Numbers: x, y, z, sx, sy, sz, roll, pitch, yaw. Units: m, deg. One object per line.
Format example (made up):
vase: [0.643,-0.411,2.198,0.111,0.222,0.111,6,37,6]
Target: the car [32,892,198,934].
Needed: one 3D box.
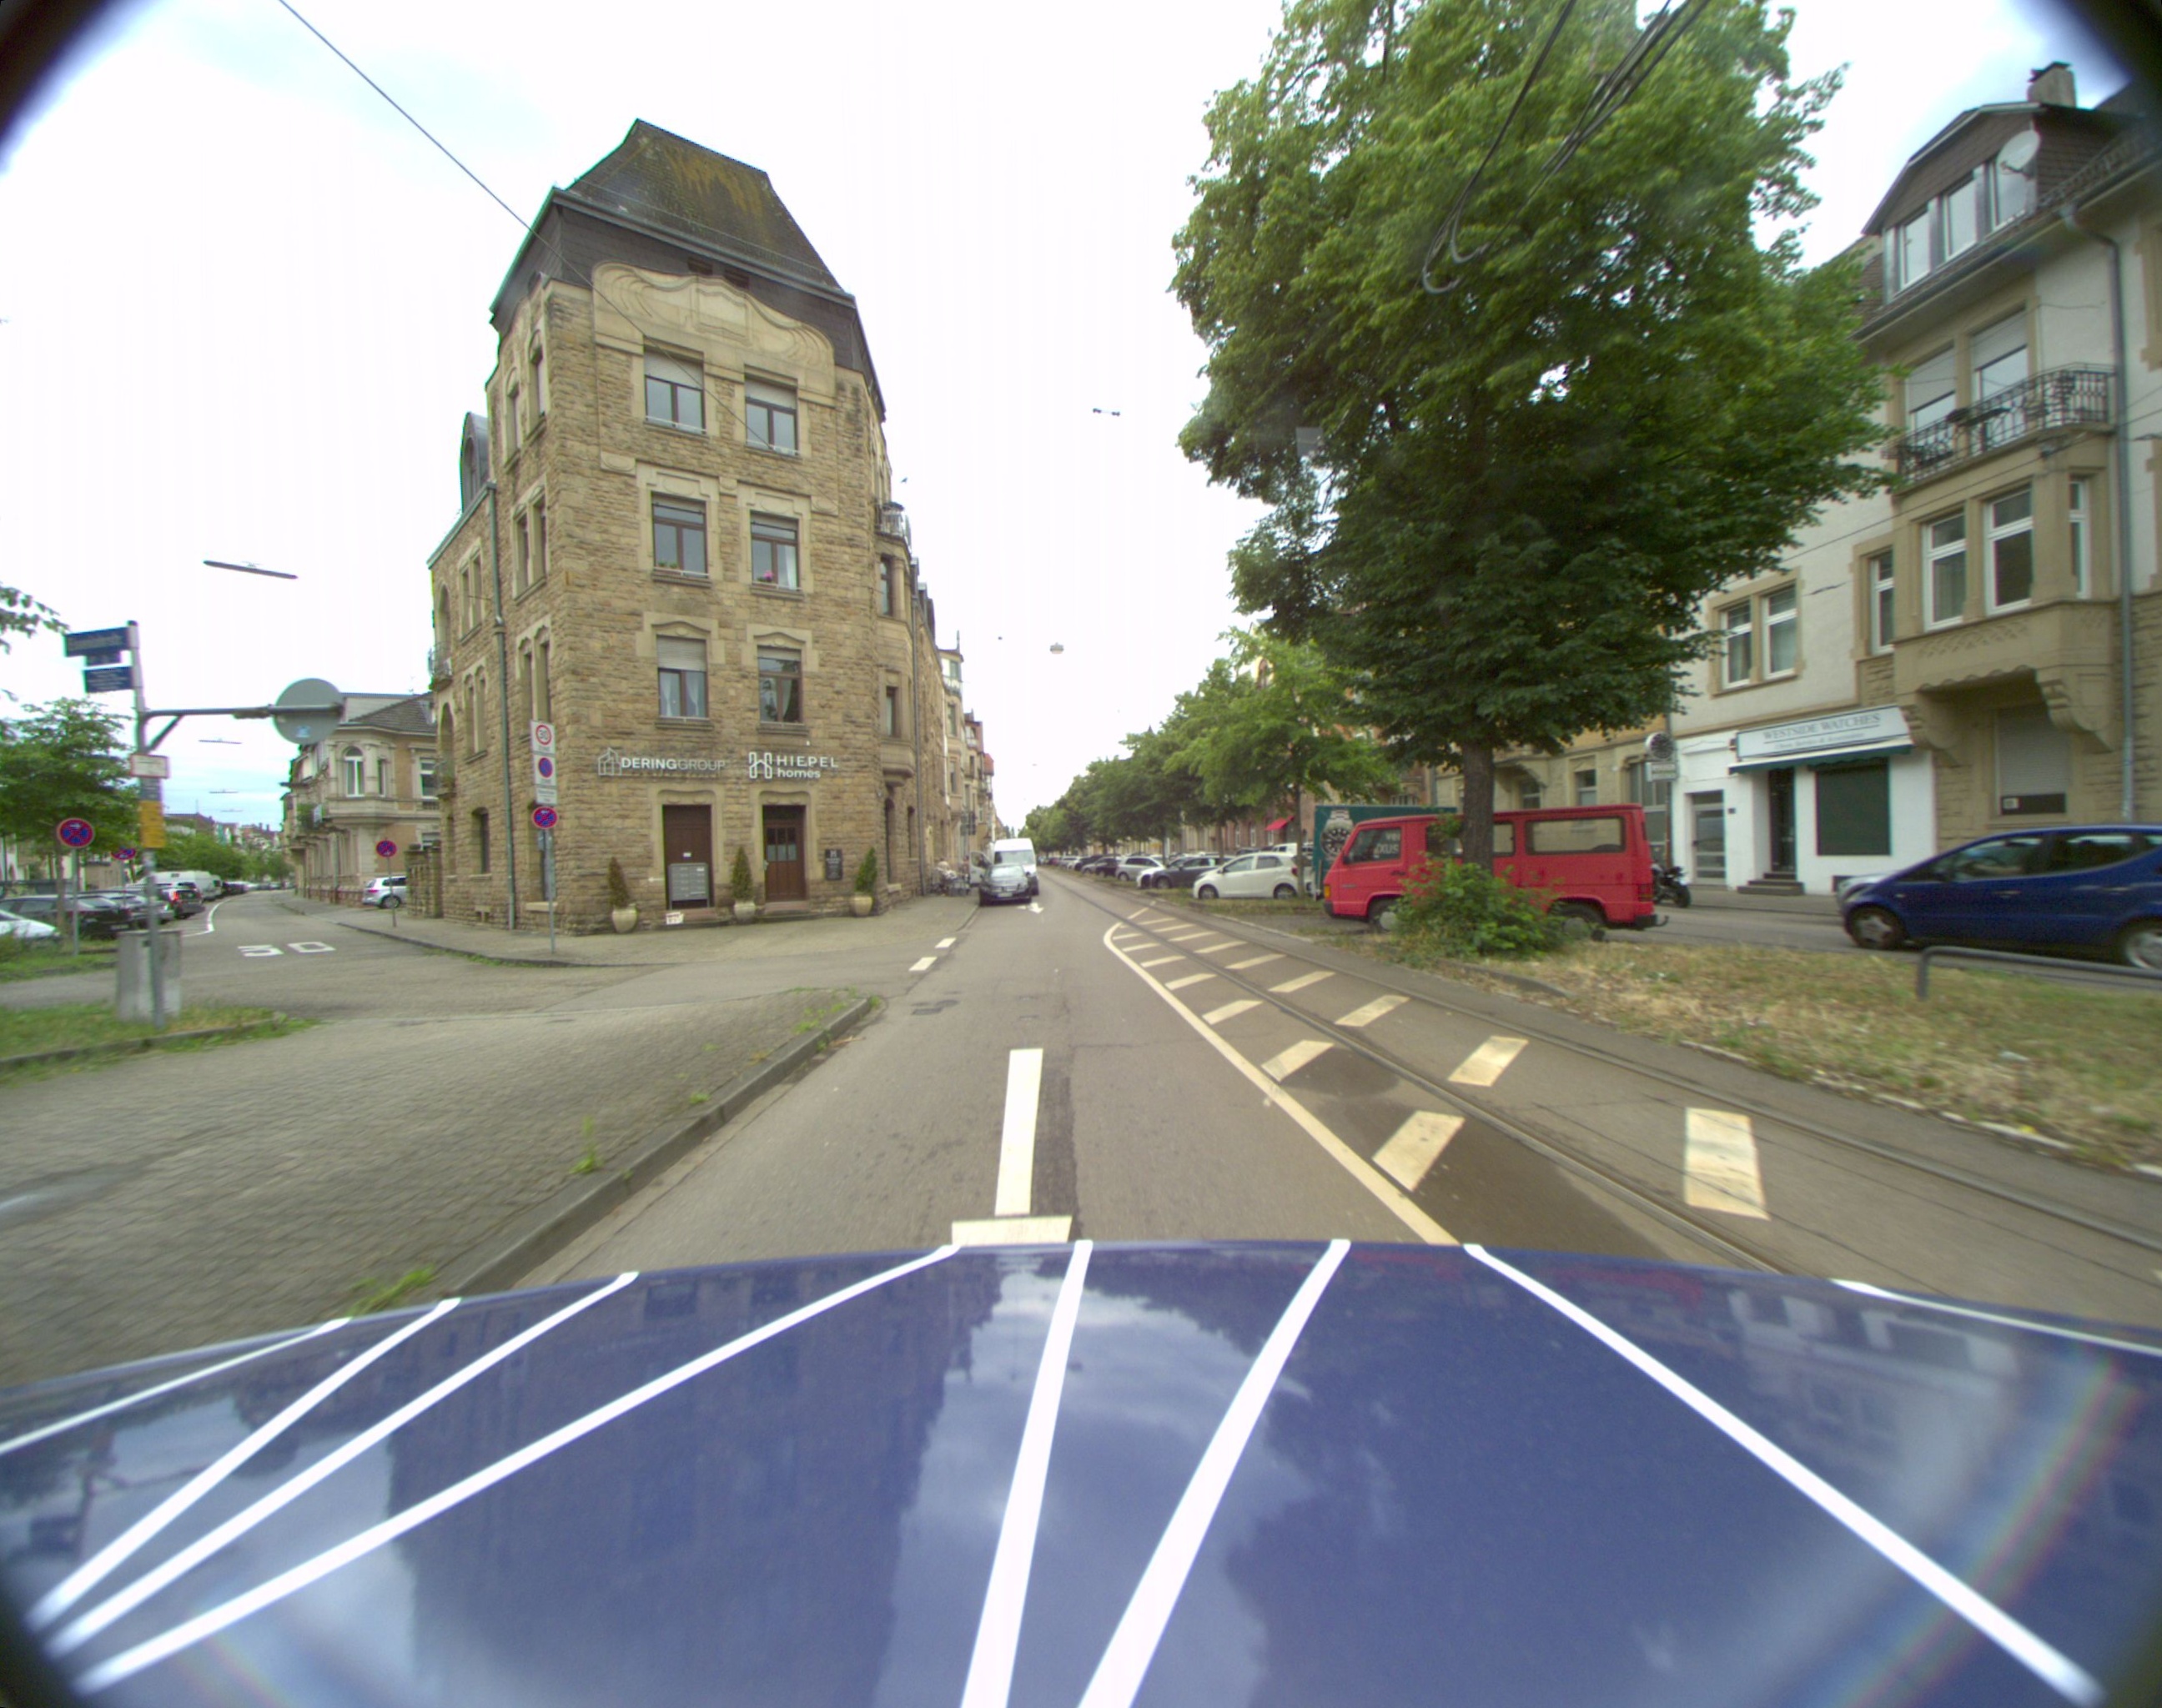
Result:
car: [-39.981,2.414,31.548,4.044,1.523,1.753,-1,0,-11]

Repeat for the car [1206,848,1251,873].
car: [10.028,0.417,51.959,1.745,1.533,4.551,-2,1,-6]

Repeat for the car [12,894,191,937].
car: [-37.646,2.350,29.326,4.044,1.425,1.753,-1,0,-11]

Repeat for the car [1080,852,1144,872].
car: [2.329,0.628,57.389,4.655,1.360,1.761,-2,0,38]

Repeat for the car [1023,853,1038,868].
car: [-7.357,0.979,109.693,1.999,2.002,3.998,-2,1,-5]

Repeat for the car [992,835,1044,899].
car: [-2.868,0.534,35.186,2.019,2.534,7.013,-4,0,-4]

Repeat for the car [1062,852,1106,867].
car: [0.332,0.620,82.224,4.552,1.484,1.867,-2,1,41]

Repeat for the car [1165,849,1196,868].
car: [8.802,0.378,67.627,1.774,1.619,4.318,-2,1,-6]

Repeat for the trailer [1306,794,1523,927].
trailer: [6.573,0.151,15.072,3.662,2.331,1.934,-2,0,28]

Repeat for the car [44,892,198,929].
car: [-42.608,2.474,33.831,4.044,1.425,1.753,-1,0,-11]

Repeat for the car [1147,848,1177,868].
car: [6.596,0.285,62.217,1.649,1.495,3.881,-2,1,-6]

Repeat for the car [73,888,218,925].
car: [-44.440,2.471,36.178,4.044,1.501,1.885,-1,0,-11]

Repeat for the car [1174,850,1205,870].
car: [9.014,0.474,63.175,1.667,1.551,3.720,-2,1,-6]

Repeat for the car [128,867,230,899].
car: [-78.208,2.502,65.984,5.326,2.488,2.346,-2,1,-11]

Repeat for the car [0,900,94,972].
car: [-24.436,1.793,16.341,3.545,1.425,1.705,-1,0,-17]

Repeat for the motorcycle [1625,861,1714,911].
motorcycle: [13.597,0.707,17.635,0.710,1.032,2.232,-2,1,12]

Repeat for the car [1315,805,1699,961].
car: [6.289,0.406,11.657,4.755,1.963,1.963,-2,0,33]

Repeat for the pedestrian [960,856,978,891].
pedestrian: [-5.442,0.952,36.909,0.706,1.690,0.492,0,0,-32]

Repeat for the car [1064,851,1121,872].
car: [0.929,0.611,63.449,4.520,1.624,1.769,-2,1,39]

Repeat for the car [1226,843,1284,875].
car: [10.367,0.254,45.722,1.819,1.771,5.114,-2,1,-6]

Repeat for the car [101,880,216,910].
car: [-71.950,3.173,59.372,5.326,2.011,2.346,-2,1,-11]

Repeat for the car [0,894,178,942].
car: [-35.452,2.244,26.964,4.047,1.425,1.752,-1,0,-19]

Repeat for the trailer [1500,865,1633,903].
trailer: [13.098,0.781,20.699,1.459,0.887,3.075,-1,0,-6]

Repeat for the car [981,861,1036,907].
car: [-2.677,1.066,28.786,1.829,1.442,5.004,-3,0,-4]

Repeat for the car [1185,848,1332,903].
car: [5.213,0.639,22.544,3.853,1.454,1.693,-2,0,37]

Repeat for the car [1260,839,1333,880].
car: [11.203,0.240,39.887,1.887,1.941,5.091,-2,1,-6]

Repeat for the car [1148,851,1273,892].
car: [4.953,0.677,29.341,4.328,1.426,1.902,-2,0,37]

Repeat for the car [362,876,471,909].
car: [-33.903,1.925,38.835,4.052,1.425,1.750,-1,0,-45]

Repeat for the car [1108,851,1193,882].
car: [3.652,0.671,40.280,4.106,1.475,1.800,-2,0,36]

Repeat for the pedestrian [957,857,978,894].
pedestrian: [-5.211,0.968,34.974,0.866,1.690,0.537,0,0,-19]

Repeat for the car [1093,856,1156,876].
car: [2.870,0.792,50.566,3.952,1.195,1.671,-2,0,39]

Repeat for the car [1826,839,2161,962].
car: [13.633,0.551,10.619,1.639,1.434,4.567,-2,0,-6]

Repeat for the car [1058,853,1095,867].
car: [-0.533,0.715,92.577,4.195,1.600,1.728,-1,2,36]

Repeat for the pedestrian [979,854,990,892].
pedestrian: [-4.600,0.914,36.234,0.500,1.804,0.802,0,0,-4]

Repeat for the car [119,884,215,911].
car: [-57.443,2.735,47.793,4.038,1.501,1.888,-2,1,7]

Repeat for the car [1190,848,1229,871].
car: [9.790,0.406,58.140,1.745,1.617,4.551,-2,1,-6]

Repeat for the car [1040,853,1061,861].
car: [-6.422,0.649,159.499,3.990,1.602,1.902,-2,-1,26]

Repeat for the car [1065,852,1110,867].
car: [0.646,0.578,75.226,4.119,1.304,1.867,-3,1,38]

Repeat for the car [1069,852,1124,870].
car: [1.389,0.619,67.355,4.529,1.482,2.040,-2,1,39]

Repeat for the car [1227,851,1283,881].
car: [8.887,0.590,39.065,1.649,1.374,3.881,-2,1,-6]

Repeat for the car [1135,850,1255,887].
car: [4.858,0.649,32.541,4.676,1.426,1.902,-2,0,34]

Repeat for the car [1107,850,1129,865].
car: [3.988,0.320,82.818,1.649,1.495,4.619,-2,1,-6]

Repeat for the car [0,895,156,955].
car: [-28.126,1.919,20.575,3.544,1.425,1.705,-1,0,-14]

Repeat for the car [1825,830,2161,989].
car: [11.255,0.529,8.724,1.649,1.525,3.627,-2,1,-8]
